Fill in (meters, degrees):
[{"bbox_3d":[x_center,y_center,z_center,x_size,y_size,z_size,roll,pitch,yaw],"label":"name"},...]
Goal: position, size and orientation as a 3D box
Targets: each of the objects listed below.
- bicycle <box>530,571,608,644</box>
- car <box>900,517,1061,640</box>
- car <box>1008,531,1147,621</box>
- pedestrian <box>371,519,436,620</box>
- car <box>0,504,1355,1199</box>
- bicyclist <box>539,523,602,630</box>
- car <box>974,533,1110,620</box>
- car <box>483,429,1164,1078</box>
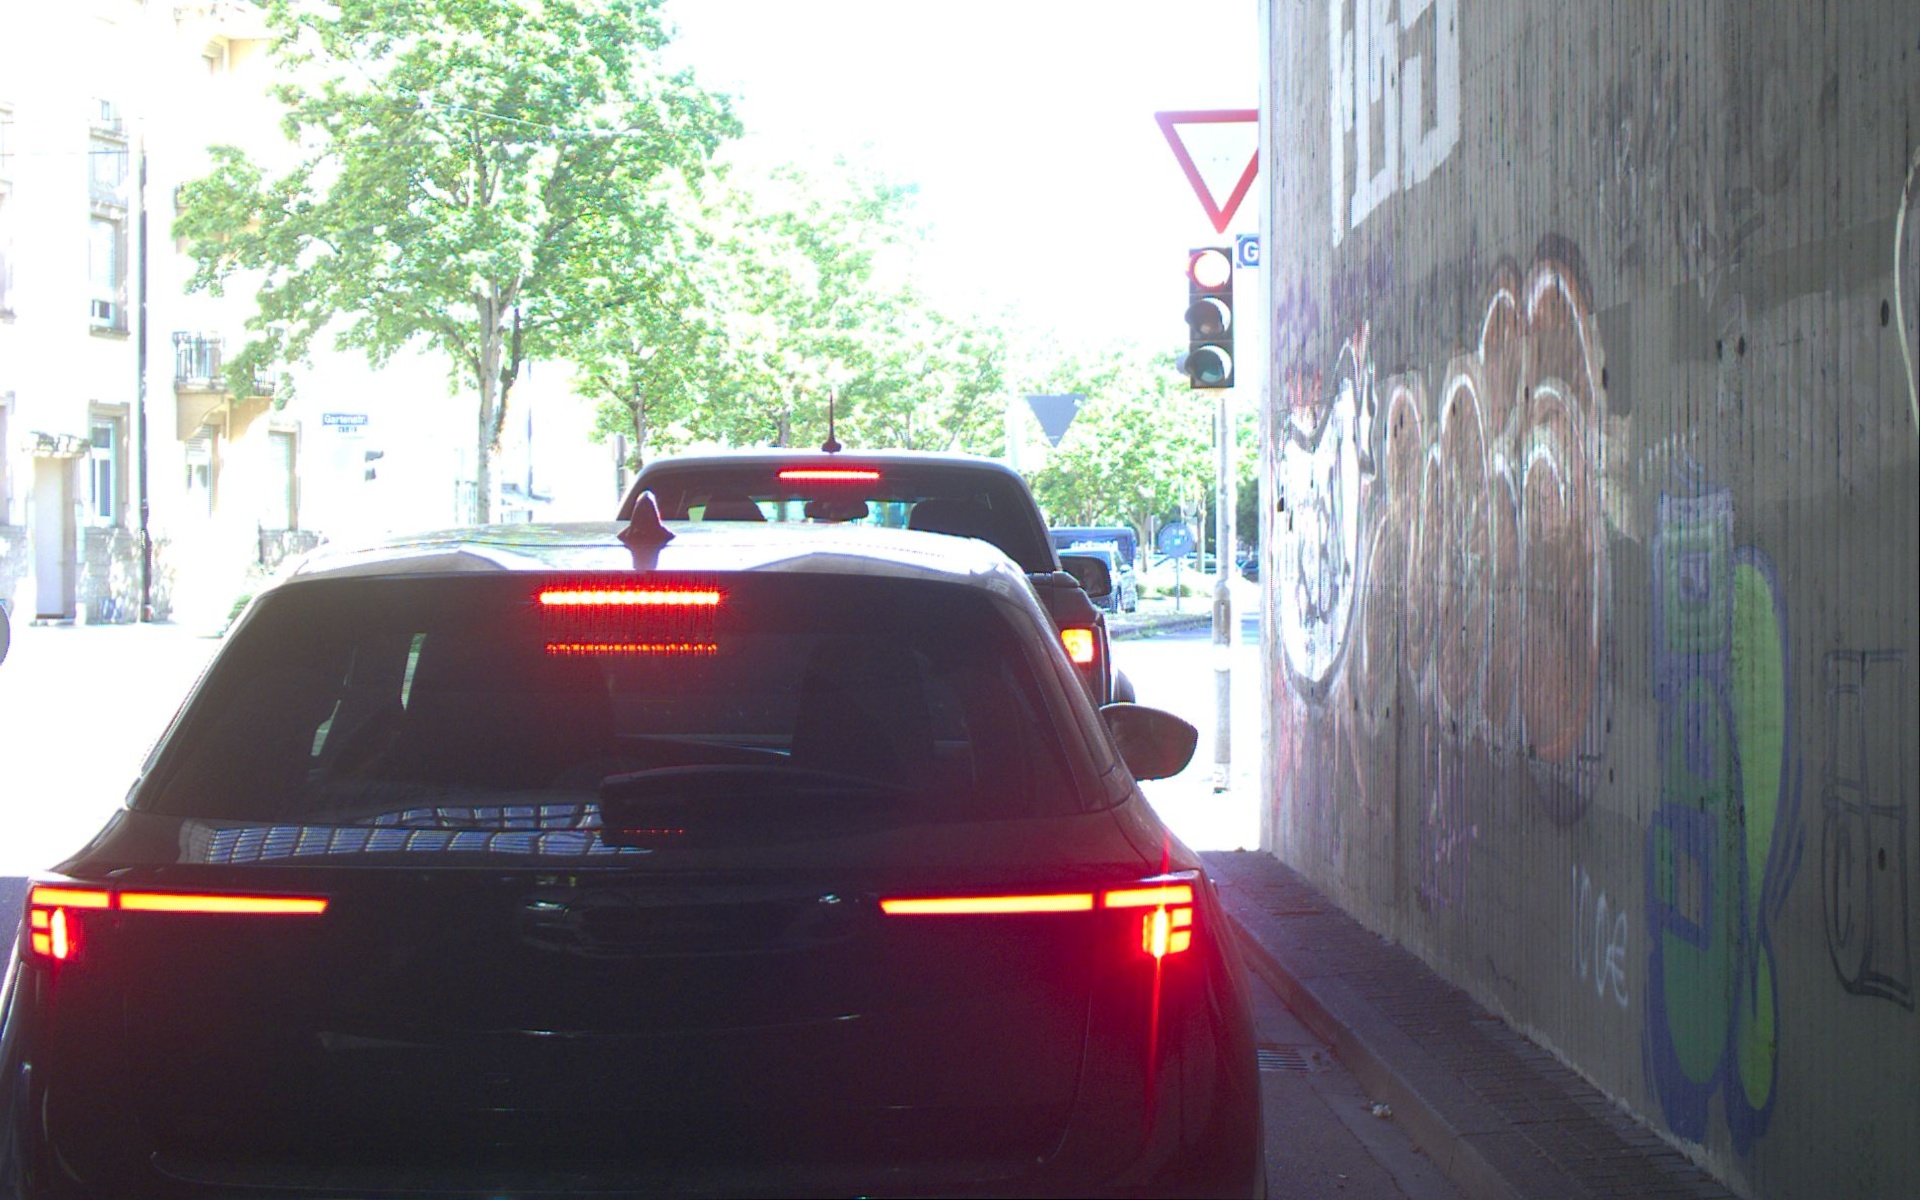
[{"bbox_3d":[-5.851,0.100,51.516,0.732,1.064,1.688,1,1,9],"label":"bicycle"},{"bbox_3d":[0.302,-0.243,44.173,1.968,1.492,3.896,0,-1,1],"label":"car"},{"bbox_3d":[2.399,-0.454,69.004,2.221,1.713,4.458,0,-1,10],"label":"car"},{"bbox_3d":[-11.121,-0.619,68.755,0.992,2.007,1.088,0,1,8],"label":"pedestrian"},{"bbox_3d":[-0.493,0.623,6.070,1.882,1.532,3.964,-1,1,-1],"label":"car"},{"bbox_3d":[-5.834,-0.356,51.541,0.729,1.576,0.814,1,0,9],"label":"bicyclist"},{"bbox_3d":[1.513,-0.397,62.194,1.969,1.492,3.895,0,-1,9],"label":"car"},{"bbox_3d":[-0.413,0.404,11.891,1.945,1.853,3.964,-1,1,-1],"label":"car"}]
